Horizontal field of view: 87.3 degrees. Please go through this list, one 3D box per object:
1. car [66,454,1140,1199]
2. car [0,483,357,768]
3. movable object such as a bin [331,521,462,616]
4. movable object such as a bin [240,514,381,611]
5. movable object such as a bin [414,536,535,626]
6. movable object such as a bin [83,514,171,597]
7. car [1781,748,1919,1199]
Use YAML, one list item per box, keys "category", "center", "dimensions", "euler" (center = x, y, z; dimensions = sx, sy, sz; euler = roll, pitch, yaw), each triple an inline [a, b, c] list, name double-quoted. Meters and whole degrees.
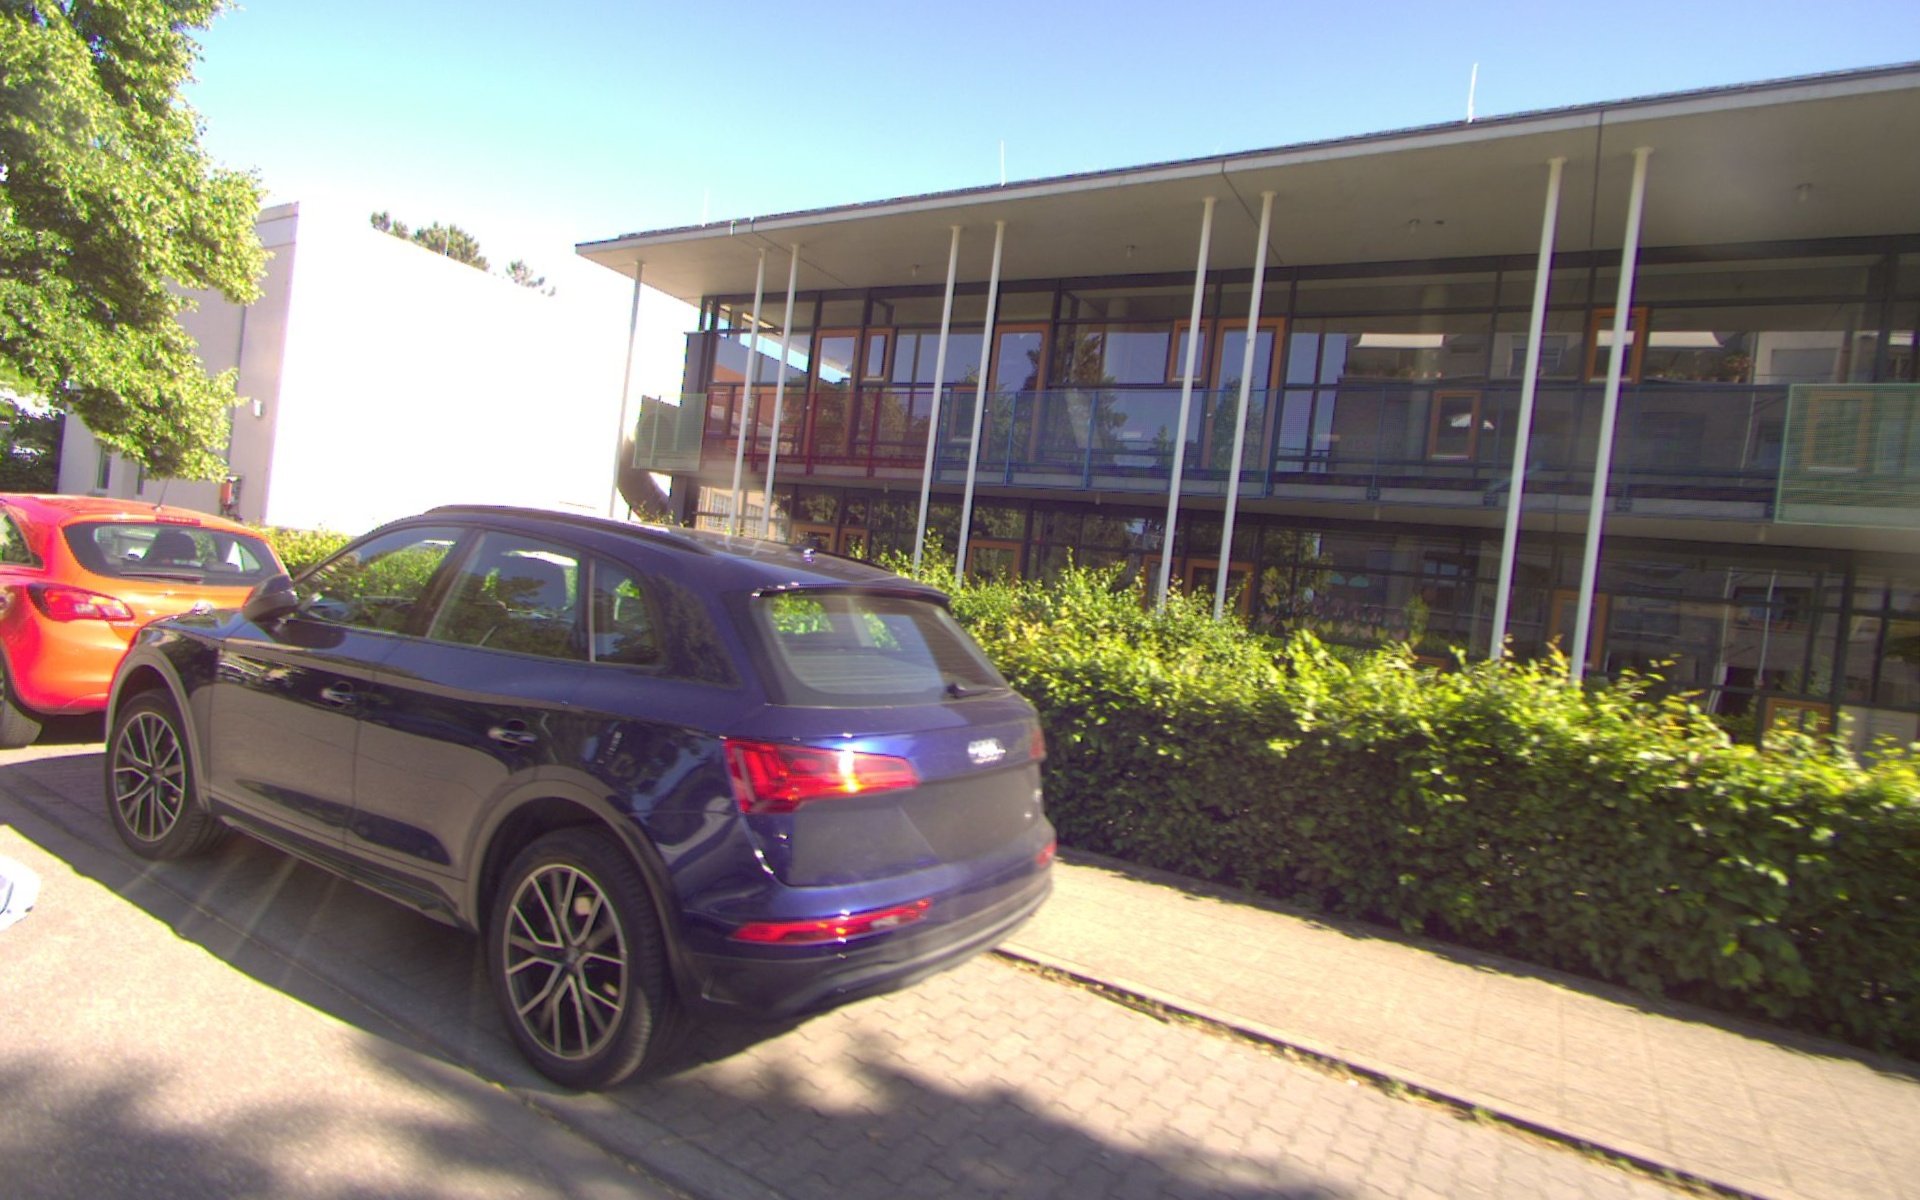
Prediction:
- category: "car"
  center: [-1.712, 0.441, 4.243]
  dimensions: [4.338, 1.704, 1.901]
  euler: [7, 2, 32]
- category: "car"
  center: [-6.211, 0.006, 7.104]
  dimensions: [3.782, 1.523, 1.677]
  euler: [7, 1, 31]
- category: "movable object such as a bin"
  center: [-10.216, -0.564, 18.256]
  dimensions: [1.604, 1.466, 1.367]
  euler: [7, 1, 32]
- category: "movable object such as a bin"
  center: [-11.000, -0.625, 17.062]
  dimensions: [1.604, 1.374, 1.367]
  euler: [7, 0, 32]
- category: "movable object such as a bin"
  center: [-9.332, -0.365, 19.337]
  dimensions: [1.604, 1.466, 1.331]
  euler: [7, 1, 32]
- category: "movable object such as a bin"
  center: [-12.317, -0.661, 14.874]
  dimensions: [0.963, 1.083, 0.633]
  euler: [7, 0, 31]
- category: "car"
  center: [3.936, 1.283, 0.784]
  dimensions: [4.693, 1.337, 1.964]
  euler: [7, 2, 28]
